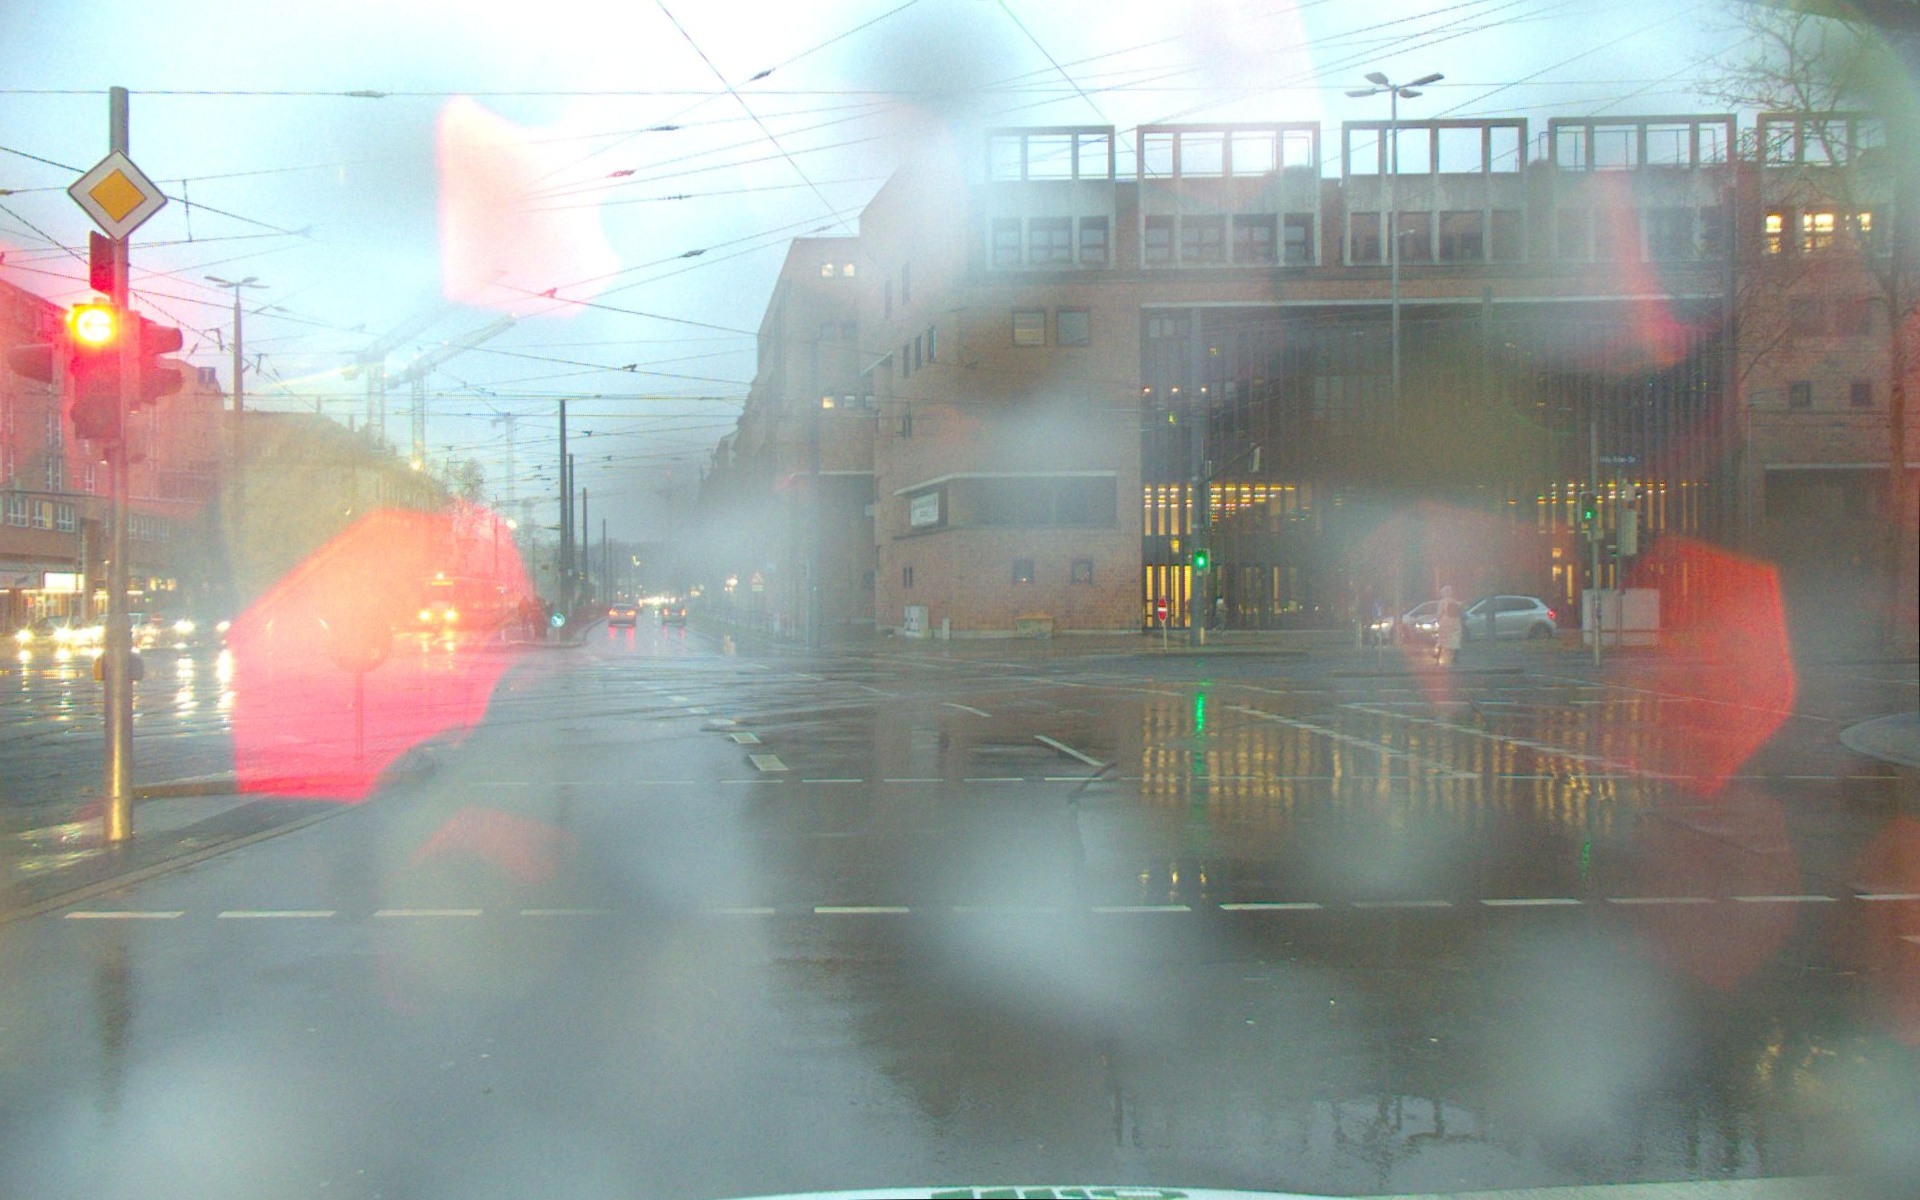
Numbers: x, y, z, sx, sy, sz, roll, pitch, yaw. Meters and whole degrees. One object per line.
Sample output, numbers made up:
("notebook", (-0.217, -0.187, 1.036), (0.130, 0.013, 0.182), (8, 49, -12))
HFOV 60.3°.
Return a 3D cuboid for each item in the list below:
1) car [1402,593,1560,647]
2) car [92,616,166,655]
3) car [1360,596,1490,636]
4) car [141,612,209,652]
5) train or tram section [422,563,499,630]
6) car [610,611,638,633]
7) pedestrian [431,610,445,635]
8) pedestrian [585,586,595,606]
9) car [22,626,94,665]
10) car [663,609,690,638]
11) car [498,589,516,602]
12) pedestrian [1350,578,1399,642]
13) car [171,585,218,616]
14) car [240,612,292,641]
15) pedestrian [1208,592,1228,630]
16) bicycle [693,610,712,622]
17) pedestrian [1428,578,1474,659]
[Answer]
("car", (14.981, 0.572, 47.645), (3.907, 1.364, 1.811), (-2, 0, -9))
("car", (-35.115, 1.487, 69.972), (1.638, 1.521, 4.191), (-1, 0, -10))
("car", (15.929, 0.549, 56.767), (3.908, 1.333, 1.810), (0, 0, -9))
("car", (-36.634, 1.471, 77.283), (1.796, 1.739, 4.692), (0, 0, -11))
("train or tram section", (-29.111, -0.197, 96.905), (2.897, 3.652, 12.223), (1, 0, -10))
("car", (-22.830, 1.485, 112.514), (1.751, 1.492, 3.142), (-1, 0, -9))
("pedestrian", (-24.422, 1.051, 77.380), (0.569, 1.173, 0.489), (1, -1, -10))
("pedestrian", (-28.560, -0.279, 127.613), (0.671, 1.542, 0.614), (0, 0, -24))
("car", (-37.904, 1.899, 69.577), (1.553, 1.521, 3.587), (-1, 0, -10))
("car", (-21.411, 1.750, 124.927), (1.957, 2.049, 3.991), (-1, 0, -9))
("car", (-48.057, -0.470, 175.508), (1.652, 1.378, 3.535), (1, 0, -12))
("pedestrian", (11.863, 0.279, 47.394), (1.128, 1.818, 0.775), (-1, 0, -10))
("car", (-52.280, 0.006, 112.999), (1.958, 2.049, 3.989), (1, 0, -11))
("car", (-33.410, 1.258, 79.694), (1.652, 1.378, 3.535), (1, 0, -12))
("pedestrian", (9.931, 0.422, 63.655), (0.721, 1.413, 0.738), (-1, 0, 10))
("bicycle", (-23.702, 1.461, 152.190), (1.700, 1.073, 0.370), (-2, 0, -13))
("pedestrian", (11.211, 0.414, 37.806), (0.721, 1.818, 0.732), (-1, 0, -14))
